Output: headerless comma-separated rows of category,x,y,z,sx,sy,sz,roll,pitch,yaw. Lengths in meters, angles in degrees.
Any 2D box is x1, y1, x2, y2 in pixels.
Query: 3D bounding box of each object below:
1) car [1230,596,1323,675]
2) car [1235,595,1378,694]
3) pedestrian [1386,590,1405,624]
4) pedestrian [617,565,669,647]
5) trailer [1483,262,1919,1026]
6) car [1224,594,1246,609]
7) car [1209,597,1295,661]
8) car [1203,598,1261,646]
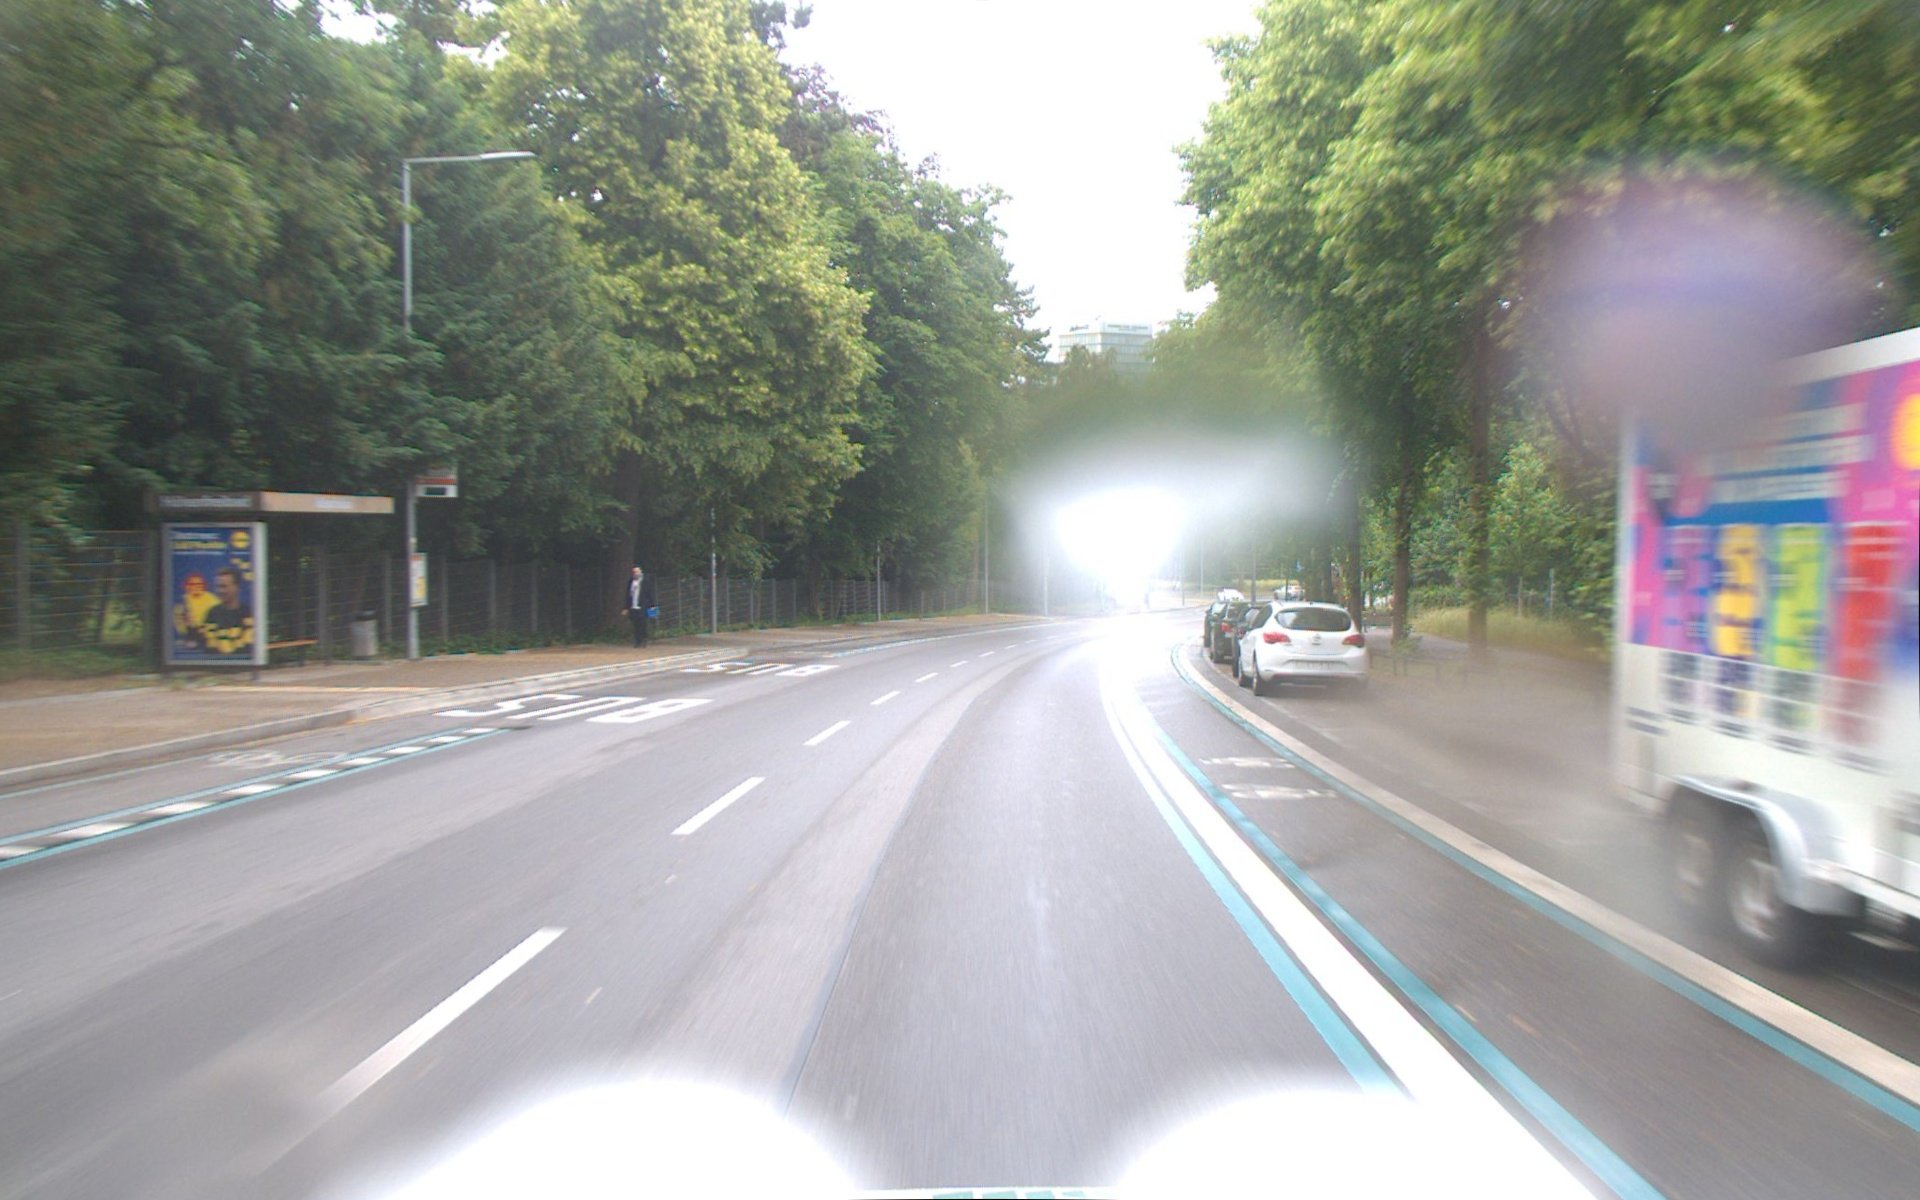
car,6.387,0.685,33.696,1.647,1.453,4.321,2,0,9
car,5.701,0.686,27.682,1.820,1.453,4.652,2,0,6
pedestrian,22.622,0.348,85.852,0.868,1.763,1.146,1,0,19
pedestrian,-6.972,0.133,36.383,0.868,1.763,1.146,1,0,1
trailer,4.588,0.156,8.278,2.268,2.718,5.377,1,0,1
car,29.308,0.130,176.224,1.804,1.482,4.504,1,2,15
car,7.098,0.676,40.633,1.744,1.432,4.849,2,0,6
car,8.913,0.685,54.462,1.663,1.445,4.767,2,0,8
